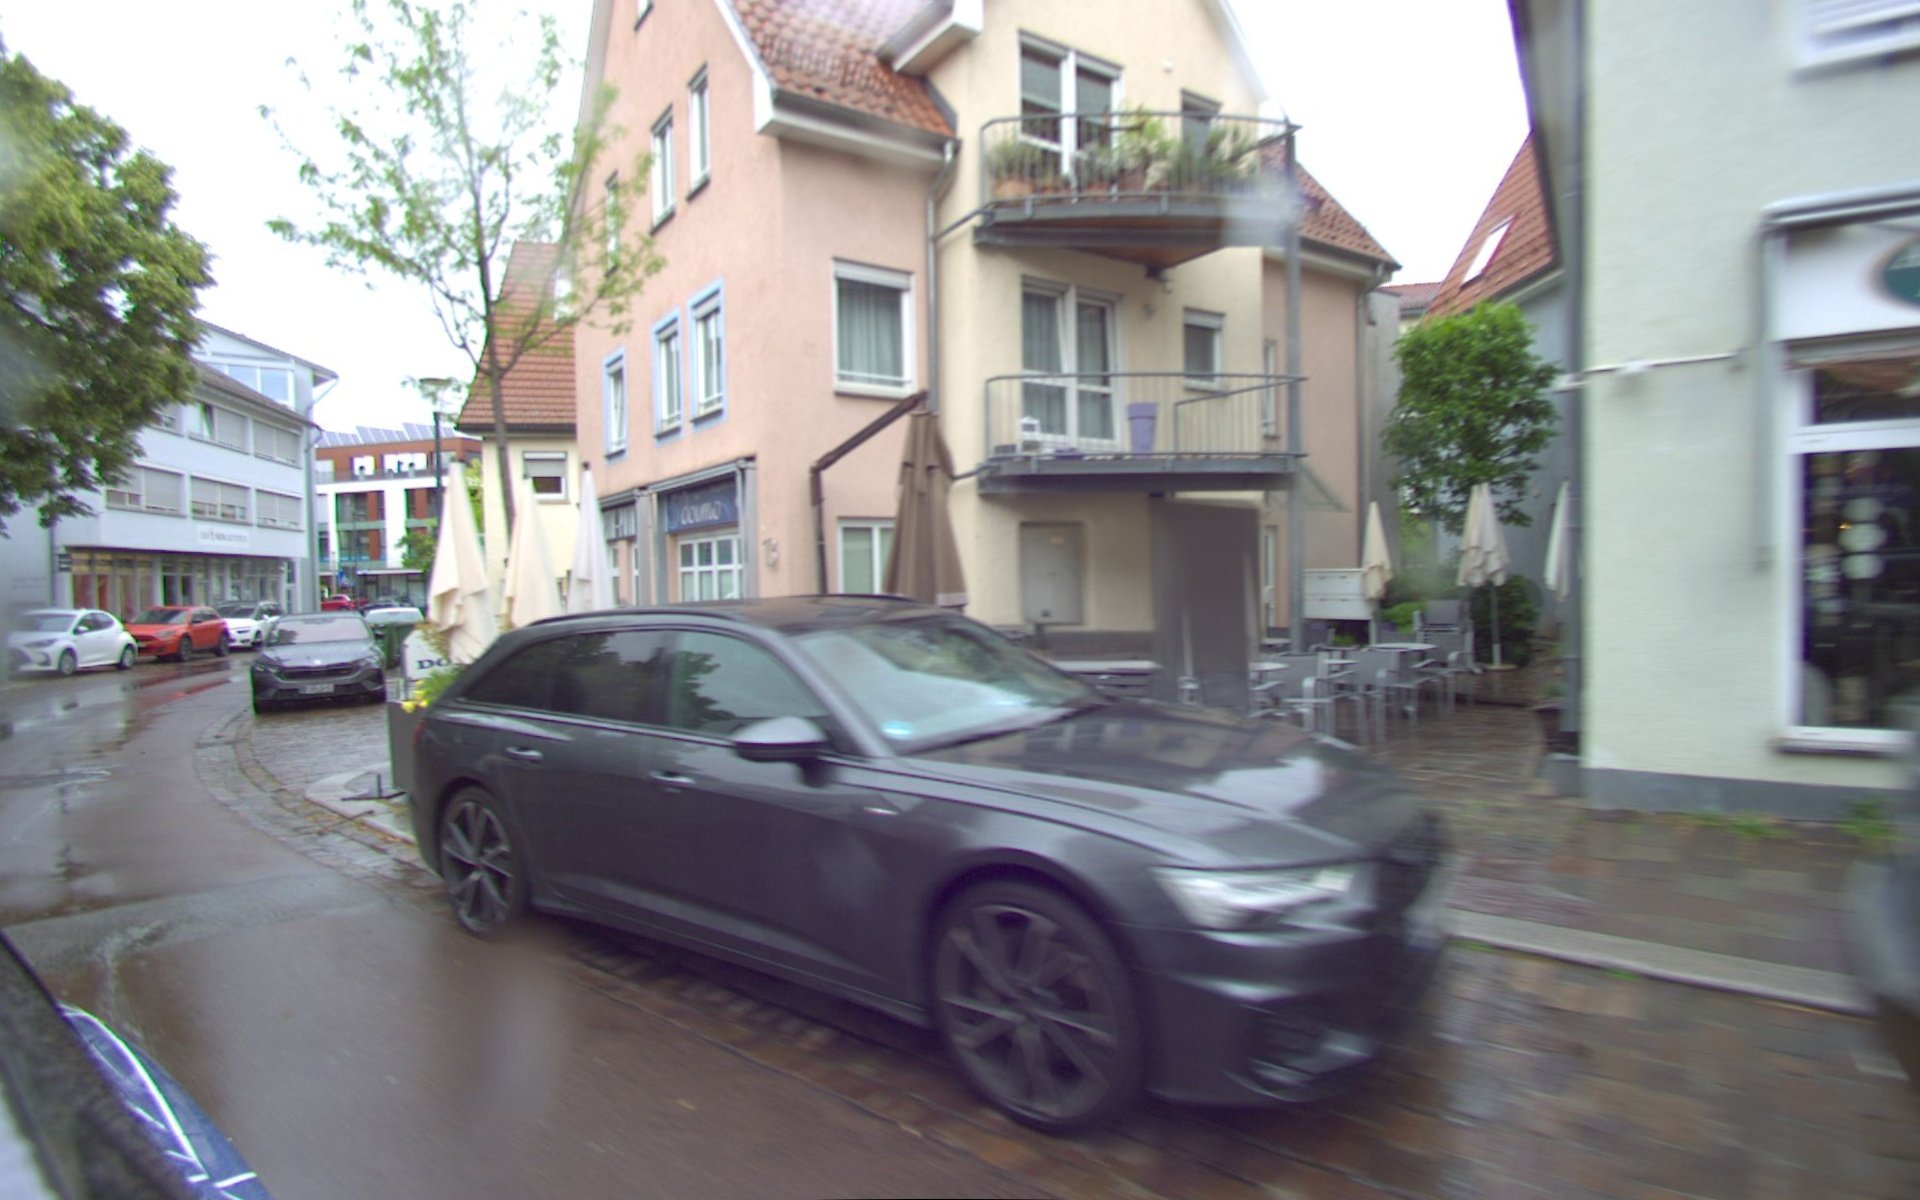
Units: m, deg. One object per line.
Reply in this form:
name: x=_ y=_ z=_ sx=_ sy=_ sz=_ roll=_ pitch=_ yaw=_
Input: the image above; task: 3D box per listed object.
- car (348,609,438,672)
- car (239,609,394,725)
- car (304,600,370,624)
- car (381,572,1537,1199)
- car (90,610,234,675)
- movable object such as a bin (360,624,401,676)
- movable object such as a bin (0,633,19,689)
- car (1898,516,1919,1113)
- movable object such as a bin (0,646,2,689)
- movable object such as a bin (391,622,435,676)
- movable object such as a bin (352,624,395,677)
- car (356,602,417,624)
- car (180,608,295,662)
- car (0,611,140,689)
car: x=-15.142 y=1.044 z=27.207 sx=1.823 sy=1.463 sz=4.086 roll=-2 pitch=0 yaw=-26
car: x=-10.453 y=0.957 z=16.613 sx=1.849 sy=1.552 sz=4.413 roll=-2 pitch=1 yaw=-31
car: x=-43.927 y=0.848 z=71.373 sx=3.889 sy=1.566 sz=1.793 roll=-1 pitch=2 yaw=18
car: x=-0.350 y=0.715 z=4.230 sx=4.610 sy=1.453 sz=1.845 roll=-2 pitch=1 yaw=36
car: x=-22.396 y=1.128 z=28.597 sx=1.763 sy=1.479 sz=3.961 roll=-2 pitch=2 yaw=-16
movable object such as a bin: x=-13.675 y=1.170 z=23.902 sx=0.672 sy=1.144 sz=0.721 roll=-2 pitch=1 yaw=-18
movable object such as a bin: x=-19.773 y=1.250 z=20.596 sx=0.715 sy=1.101 sz=0.612 roll=-2 pitch=2 yaw=-26
car: x=3.860 y=0.535 z=0.933 sx=4.327 sy=1.535 sz=1.842 roll=-1 pitch=2 yaw=42
movable object such as a bin: x=-19.517 y=1.269 z=19.965 sx=0.715 sy=1.091 sz=0.607 roll=-2 pitch=2 yaw=-26
movable object such as a bin: x=-12.667 y=1.128 z=23.454 sx=0.690 sy=1.130 sz=0.721 roll=-4 pitch=3 yaw=-18
movable object such as a bin: x=-13.407 y=1.141 z=23.158 sx=0.690 sy=1.152 sz=0.721 roll=-2 pitch=0 yaw=-18
car: x=-39.470 y=0.892 z=69.677 sx=3.555 sy=1.446 sz=1.671 roll=-1 pitch=2 yaw=17
car: x=-24.091 y=1.110 z=33.919 sx=1.763 sy=1.611 sz=4.453 roll=-2 pitch=0 yaw=-17
car: x=-20.899 y=1.086 z=23.314 sx=1.763 sy=1.567 sz=3.961 roll=-1 pitch=0 yaw=-17
